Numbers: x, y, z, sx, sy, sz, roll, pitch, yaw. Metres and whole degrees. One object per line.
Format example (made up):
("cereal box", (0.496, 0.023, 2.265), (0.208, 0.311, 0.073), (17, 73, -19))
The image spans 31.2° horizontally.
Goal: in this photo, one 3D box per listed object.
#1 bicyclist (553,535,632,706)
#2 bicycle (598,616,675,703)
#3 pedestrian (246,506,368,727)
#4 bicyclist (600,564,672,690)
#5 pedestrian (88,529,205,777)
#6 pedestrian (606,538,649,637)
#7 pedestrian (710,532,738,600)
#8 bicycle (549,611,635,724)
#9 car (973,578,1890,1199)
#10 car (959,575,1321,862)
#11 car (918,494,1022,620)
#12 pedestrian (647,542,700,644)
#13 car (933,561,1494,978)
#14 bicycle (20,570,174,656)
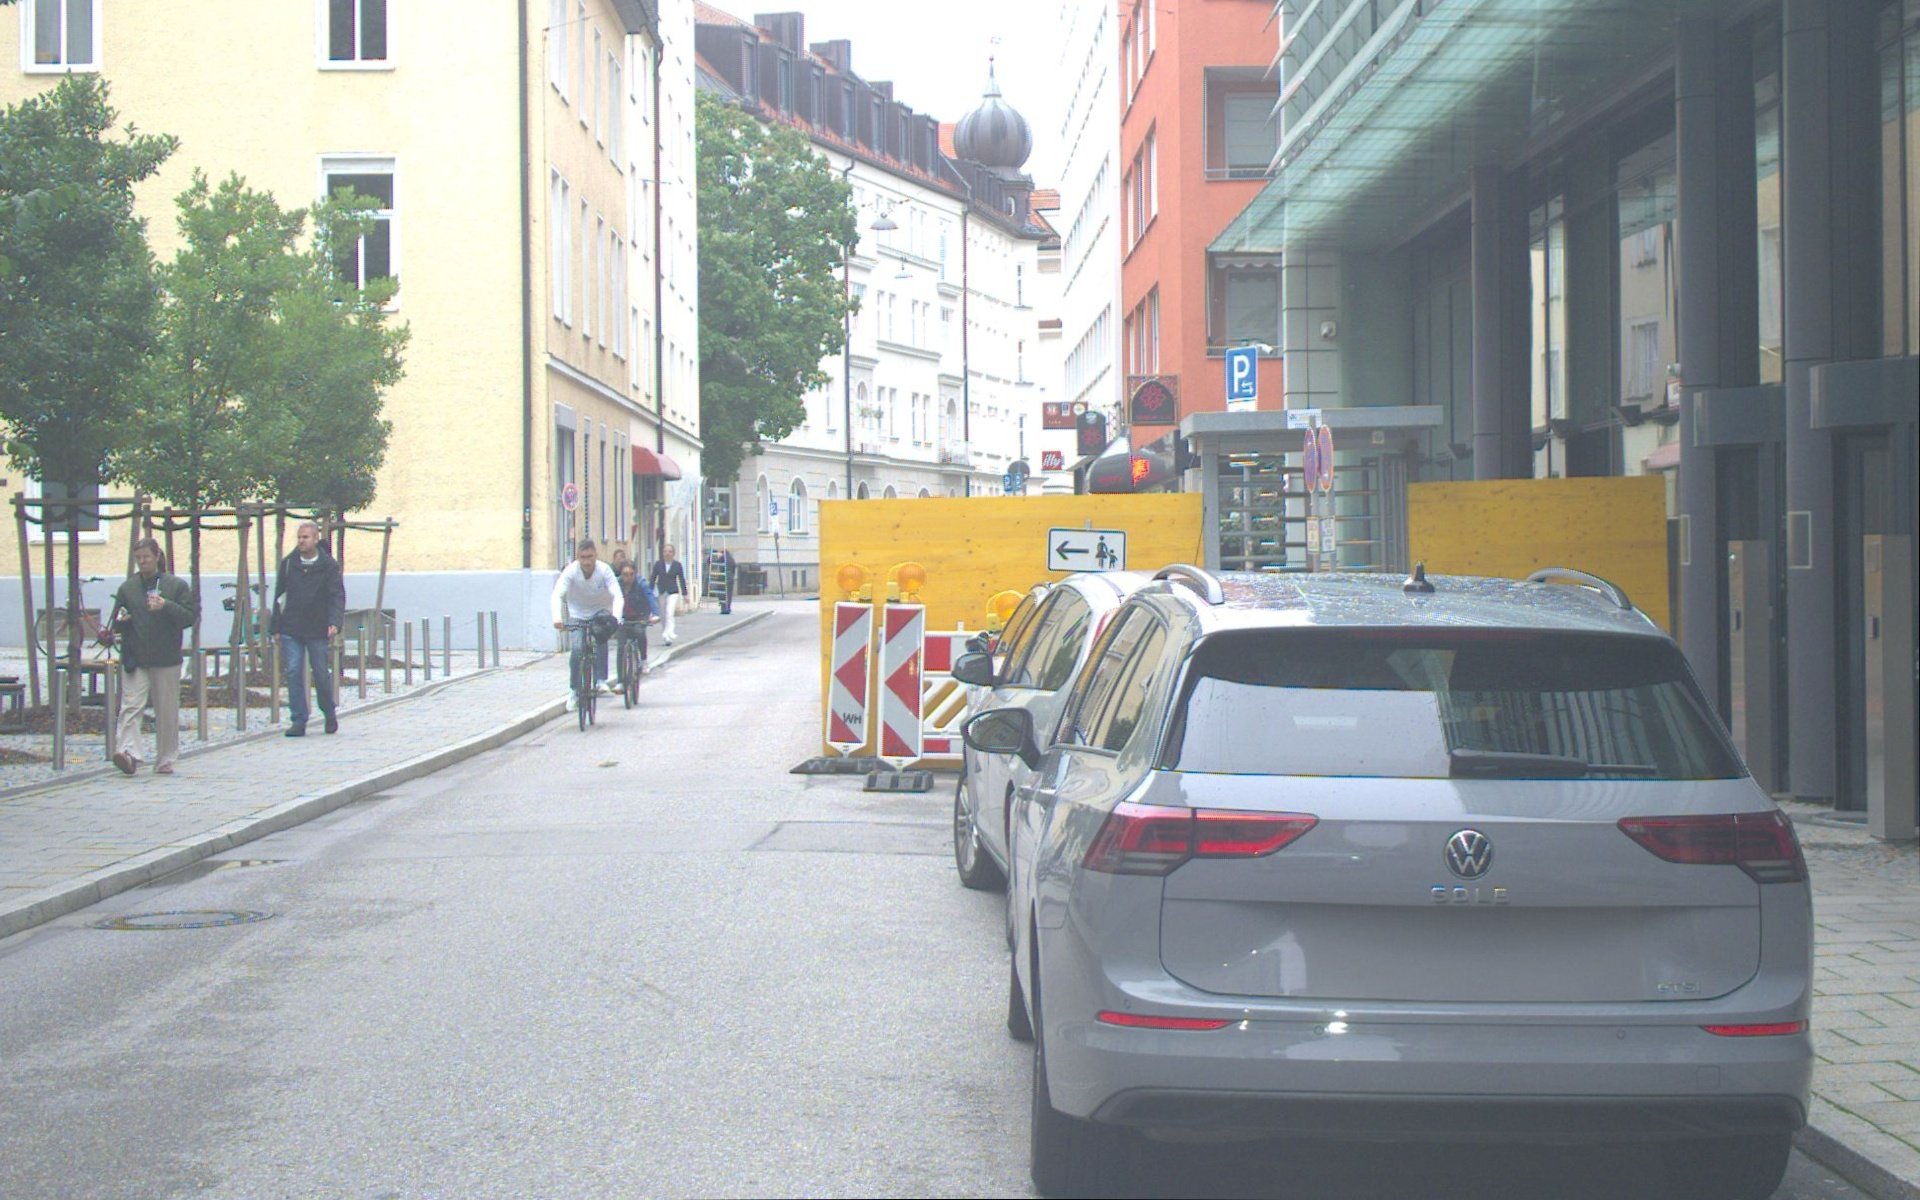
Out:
("bicyclist", (-3.594, 0.194, 33.675), (0.659, 1.637, 0.895), (-1, 1, -1))
("bicycle", (-3.576, 0.651, 38.097), (0.707, 0.902, 1.809), (-1, 1, -1))
("pedestrian", (-5.656, 0.136, 29.845), (0.867, 1.875, 1.135), (0, 0, -2))
("bicyclist", (-3.583, 0.290, 38.040), (0.707, 1.366, 0.813), (-1, 1, -1))
("pedestrian", (-5.582, 0.356, 23.624), (0.647, 1.671, 0.724), (0, 0, -2))
("pedestrian", (-5.577, -0.213, 57.702), (0.670, 1.642, 0.761), (0, 0, -1))
("pedestrian", (-5.792, -0.828, 84.401), (0.634, 1.669, 0.517), (0, 1, -1))
("bicycle", (-3.600, 0.648, 33.748), (0.661, 1.035, 2.005), (-1, 1, -1))
("car", (0.957, 0.671, 9.058), (1.708, 1.427, 4.330), (0, 1, -1))
("car", (0.905, 0.580, 19.512), (1.708, 1.409, 4.510), (1, 0, -1))
("car", (0.172, -0.903, 71.625), (1.993, 2.528, 4.975), (0, 1, -2))
("pedestrian", (-4.791, -0.122, 57.523), (0.839, 1.695, 0.803), (0, 0, -1))
("car", (0.891, 0.590, 14.352), (1.707, 1.462, 4.238), (1, 0, -4))
("bicycle", (-12.148, 0.179, 48.412), (2.044, 1.193, 0.570), (0, 1, 6))
